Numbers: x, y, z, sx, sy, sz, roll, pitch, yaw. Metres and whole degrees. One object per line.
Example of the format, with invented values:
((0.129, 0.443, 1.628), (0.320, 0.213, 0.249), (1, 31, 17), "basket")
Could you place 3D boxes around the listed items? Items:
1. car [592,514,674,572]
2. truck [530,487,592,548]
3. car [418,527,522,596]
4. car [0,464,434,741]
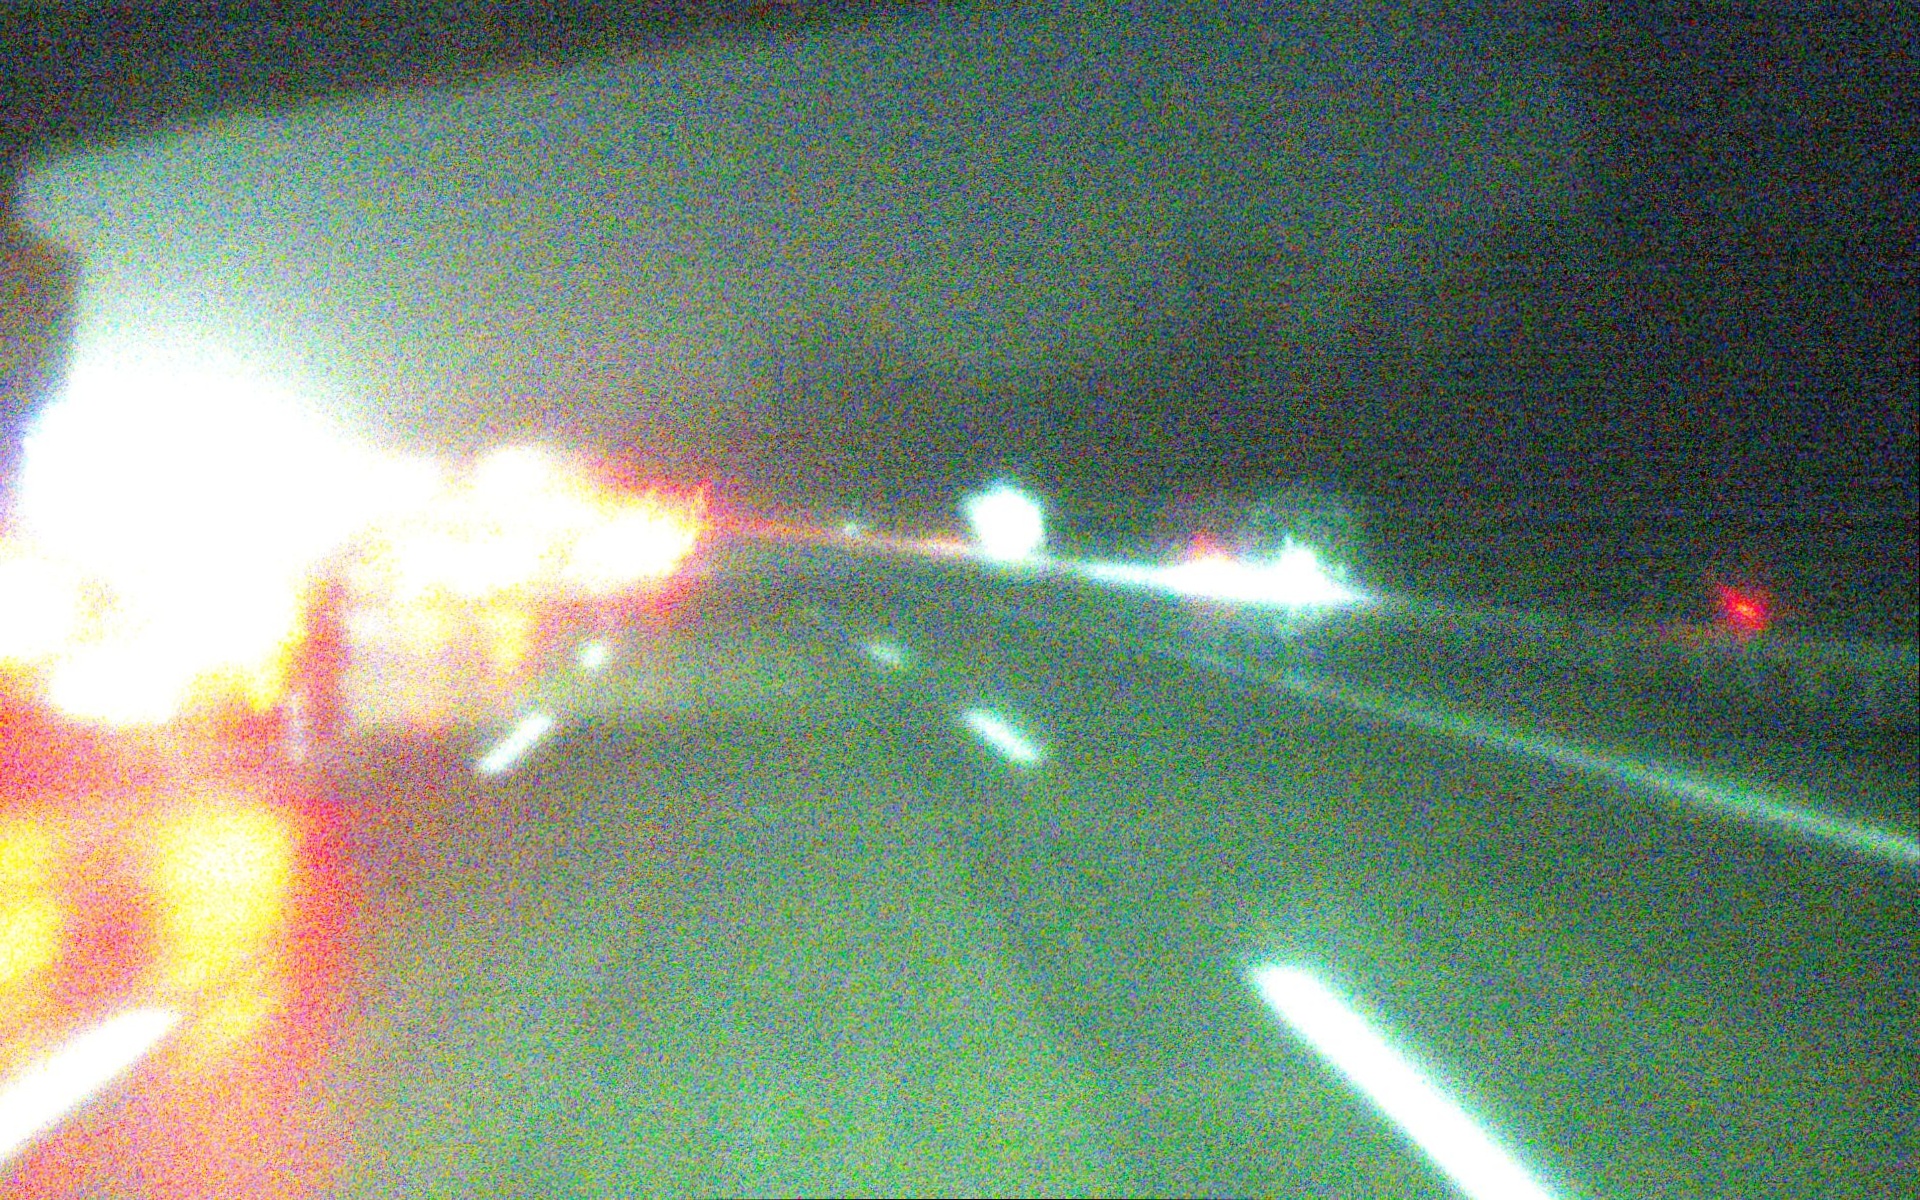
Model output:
((-8.531, -1.493, 89.942), (1.802, 1.482, 4.000), (0, 1, -1), "car")
((-20.435, -4.177, 175.680), (1.993, 3.032, 6.467), (1, 1, -17), "truck")
((-9.157, -0.719, 64.448), (1.662, 1.232, 3.762), (1, 1, -5), "car")
((-4.862, -0.025, 23.068), (1.858, 1.535, 4.751), (4, 1, 0), "car")
